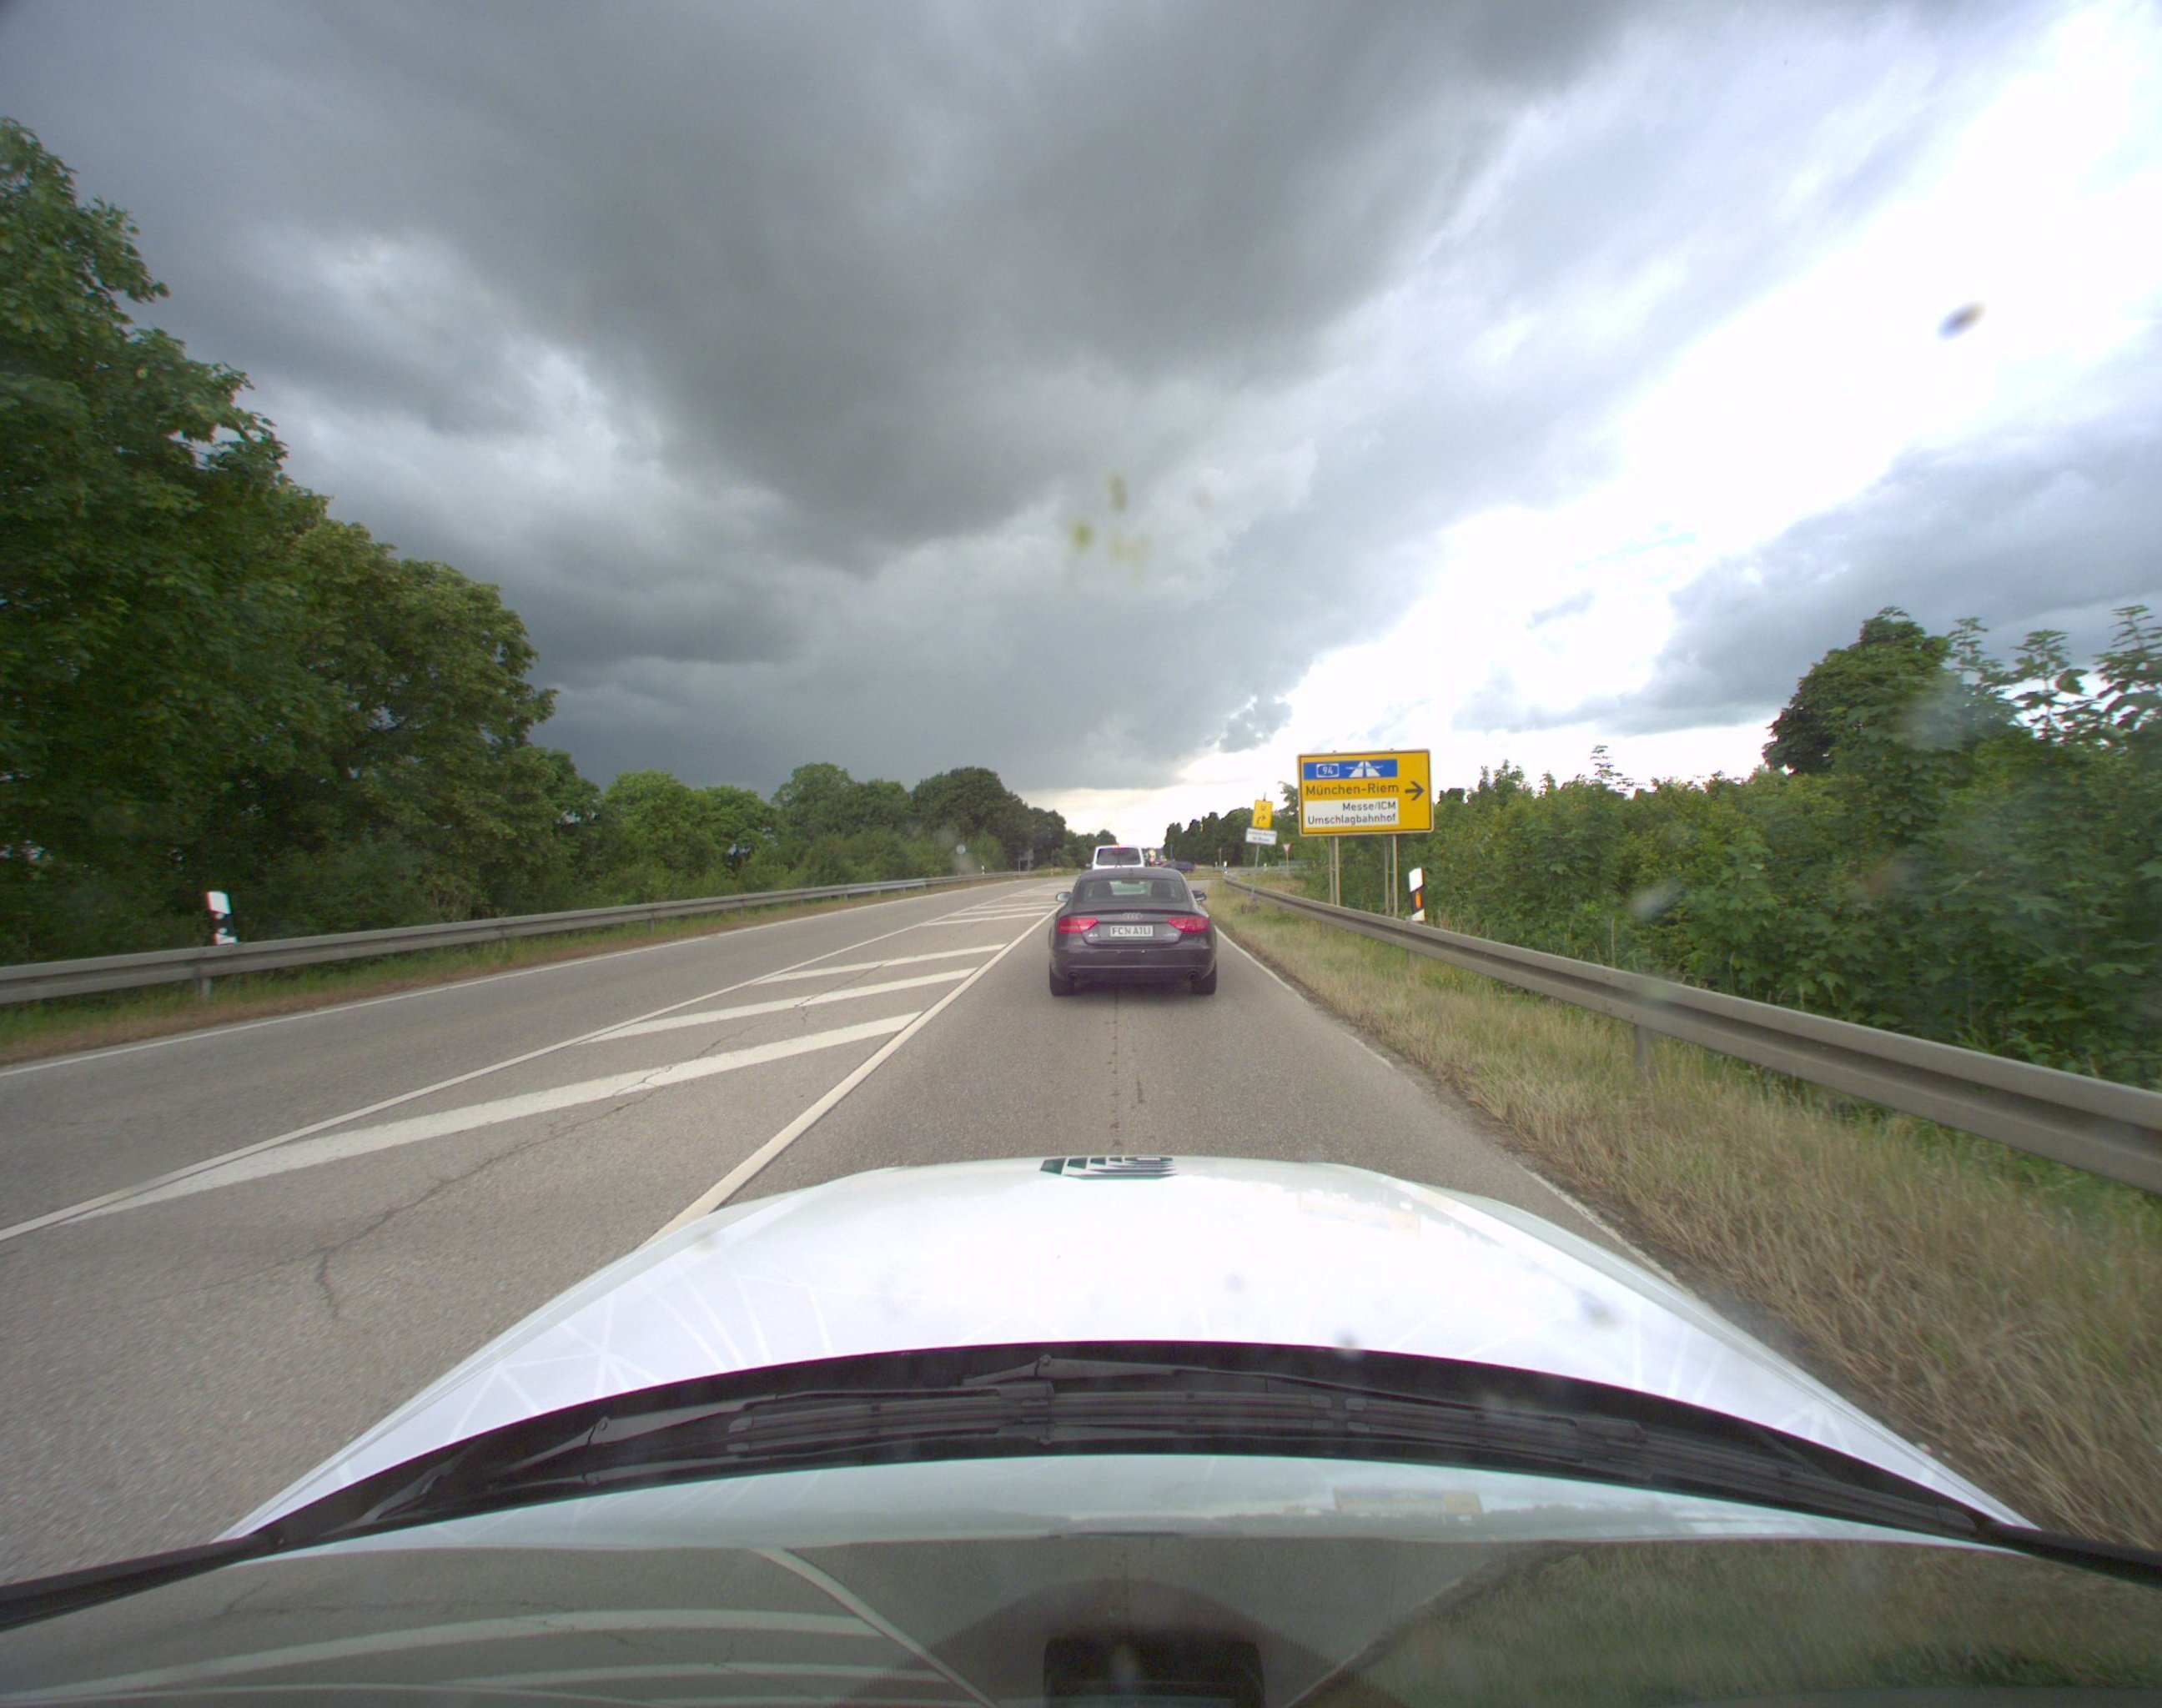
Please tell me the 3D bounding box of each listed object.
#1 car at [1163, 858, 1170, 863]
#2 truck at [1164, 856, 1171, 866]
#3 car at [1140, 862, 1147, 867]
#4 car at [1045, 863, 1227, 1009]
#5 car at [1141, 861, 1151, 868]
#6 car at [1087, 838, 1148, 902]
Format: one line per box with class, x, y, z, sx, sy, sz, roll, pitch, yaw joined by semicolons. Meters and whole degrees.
car;27.168;2.130;259.094;1.984;1.692;4.005;-1;0;5
truck;25.496;1.979;240.718;1.984;2.918;5.802;-1;0;5
car;17.239;2.847;225.007;1.728;1.454;4.001;-1;0;1
car;0.596;0.825;9.687;1.773;1.399;3.338;-1;-1;2
car;16.067;2.654;200.690;2.197;1.582;4.381;-1;0;2
car;1.242;0.515;27.850;1.903;2.013;4.002;-1;0;2
